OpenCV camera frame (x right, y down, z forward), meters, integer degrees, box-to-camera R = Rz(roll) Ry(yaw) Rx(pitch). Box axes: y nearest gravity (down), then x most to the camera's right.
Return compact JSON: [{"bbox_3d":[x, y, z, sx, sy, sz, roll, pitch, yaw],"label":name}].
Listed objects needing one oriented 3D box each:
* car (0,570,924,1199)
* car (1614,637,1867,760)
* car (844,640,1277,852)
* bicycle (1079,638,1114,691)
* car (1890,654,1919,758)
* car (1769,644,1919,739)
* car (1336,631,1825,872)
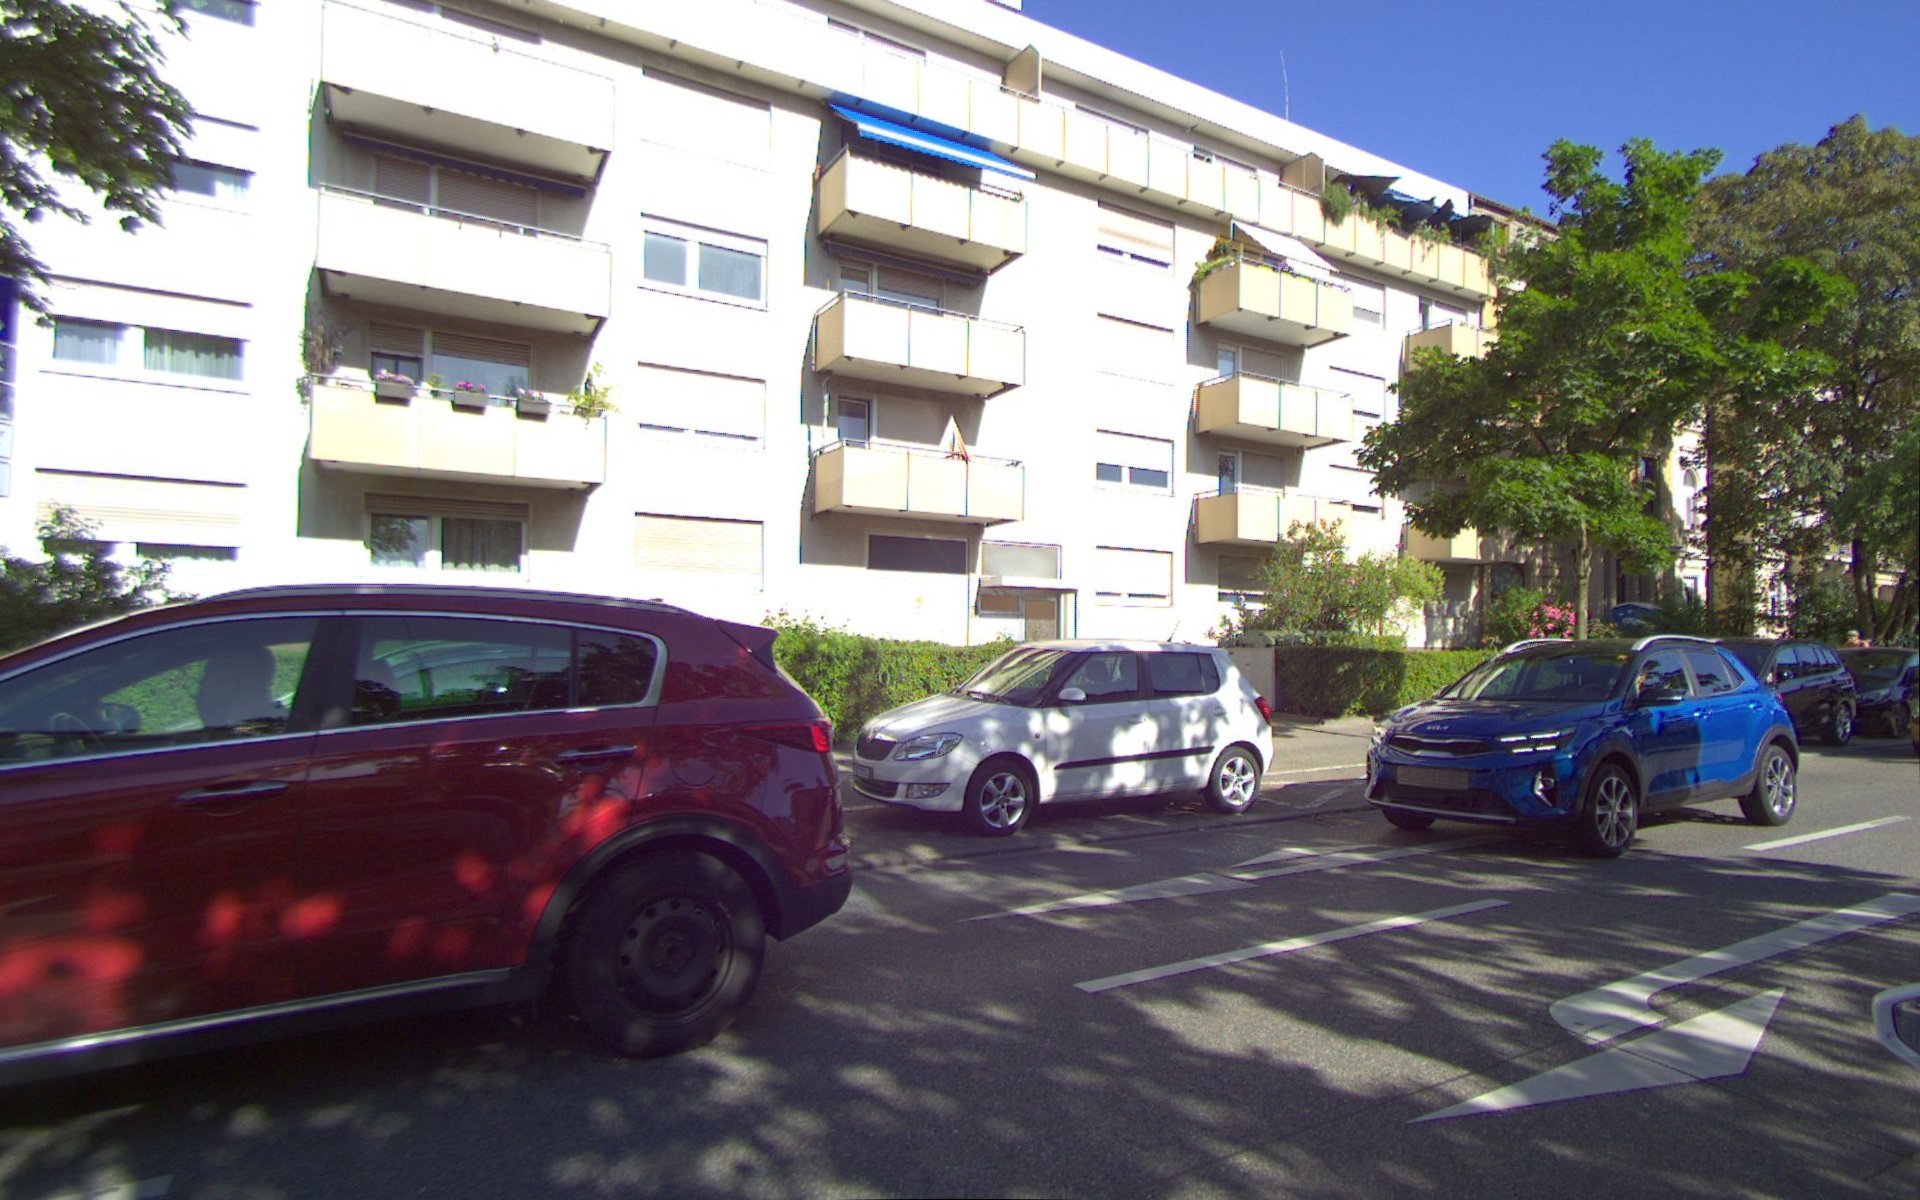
[{"bbox_3d":[-2.411,0.815,3.656,4.247,1.637,1.715,1,-5,-29],"label":"car"},{"bbox_3d":[12.027,1.406,15.409,4.345,1.626,1.661,2,-1,-32],"label":"car"},{"bbox_3d":[0.941,1.120,8.799,3.640,1.509,1.395,1,-1,-29],"label":"car"},{"bbox_3d":[3.025,1.421,22.323,0.494,1.075,1.559,0,0,-2],"label":"bicycle"},{"bbox_3d":[14.934,1.457,14.214,3.694,1.421,1.627,2,-4,-31],"label":"car"},{"bbox_3d":[16.369,1.569,17.967,3.882,1.496,1.595,2,-1,-28],"label":"car"},{"bbox_3d":[5.116,1.082,8.186,4.028,1.536,1.648,2,-5,-30],"label":"car"}]
